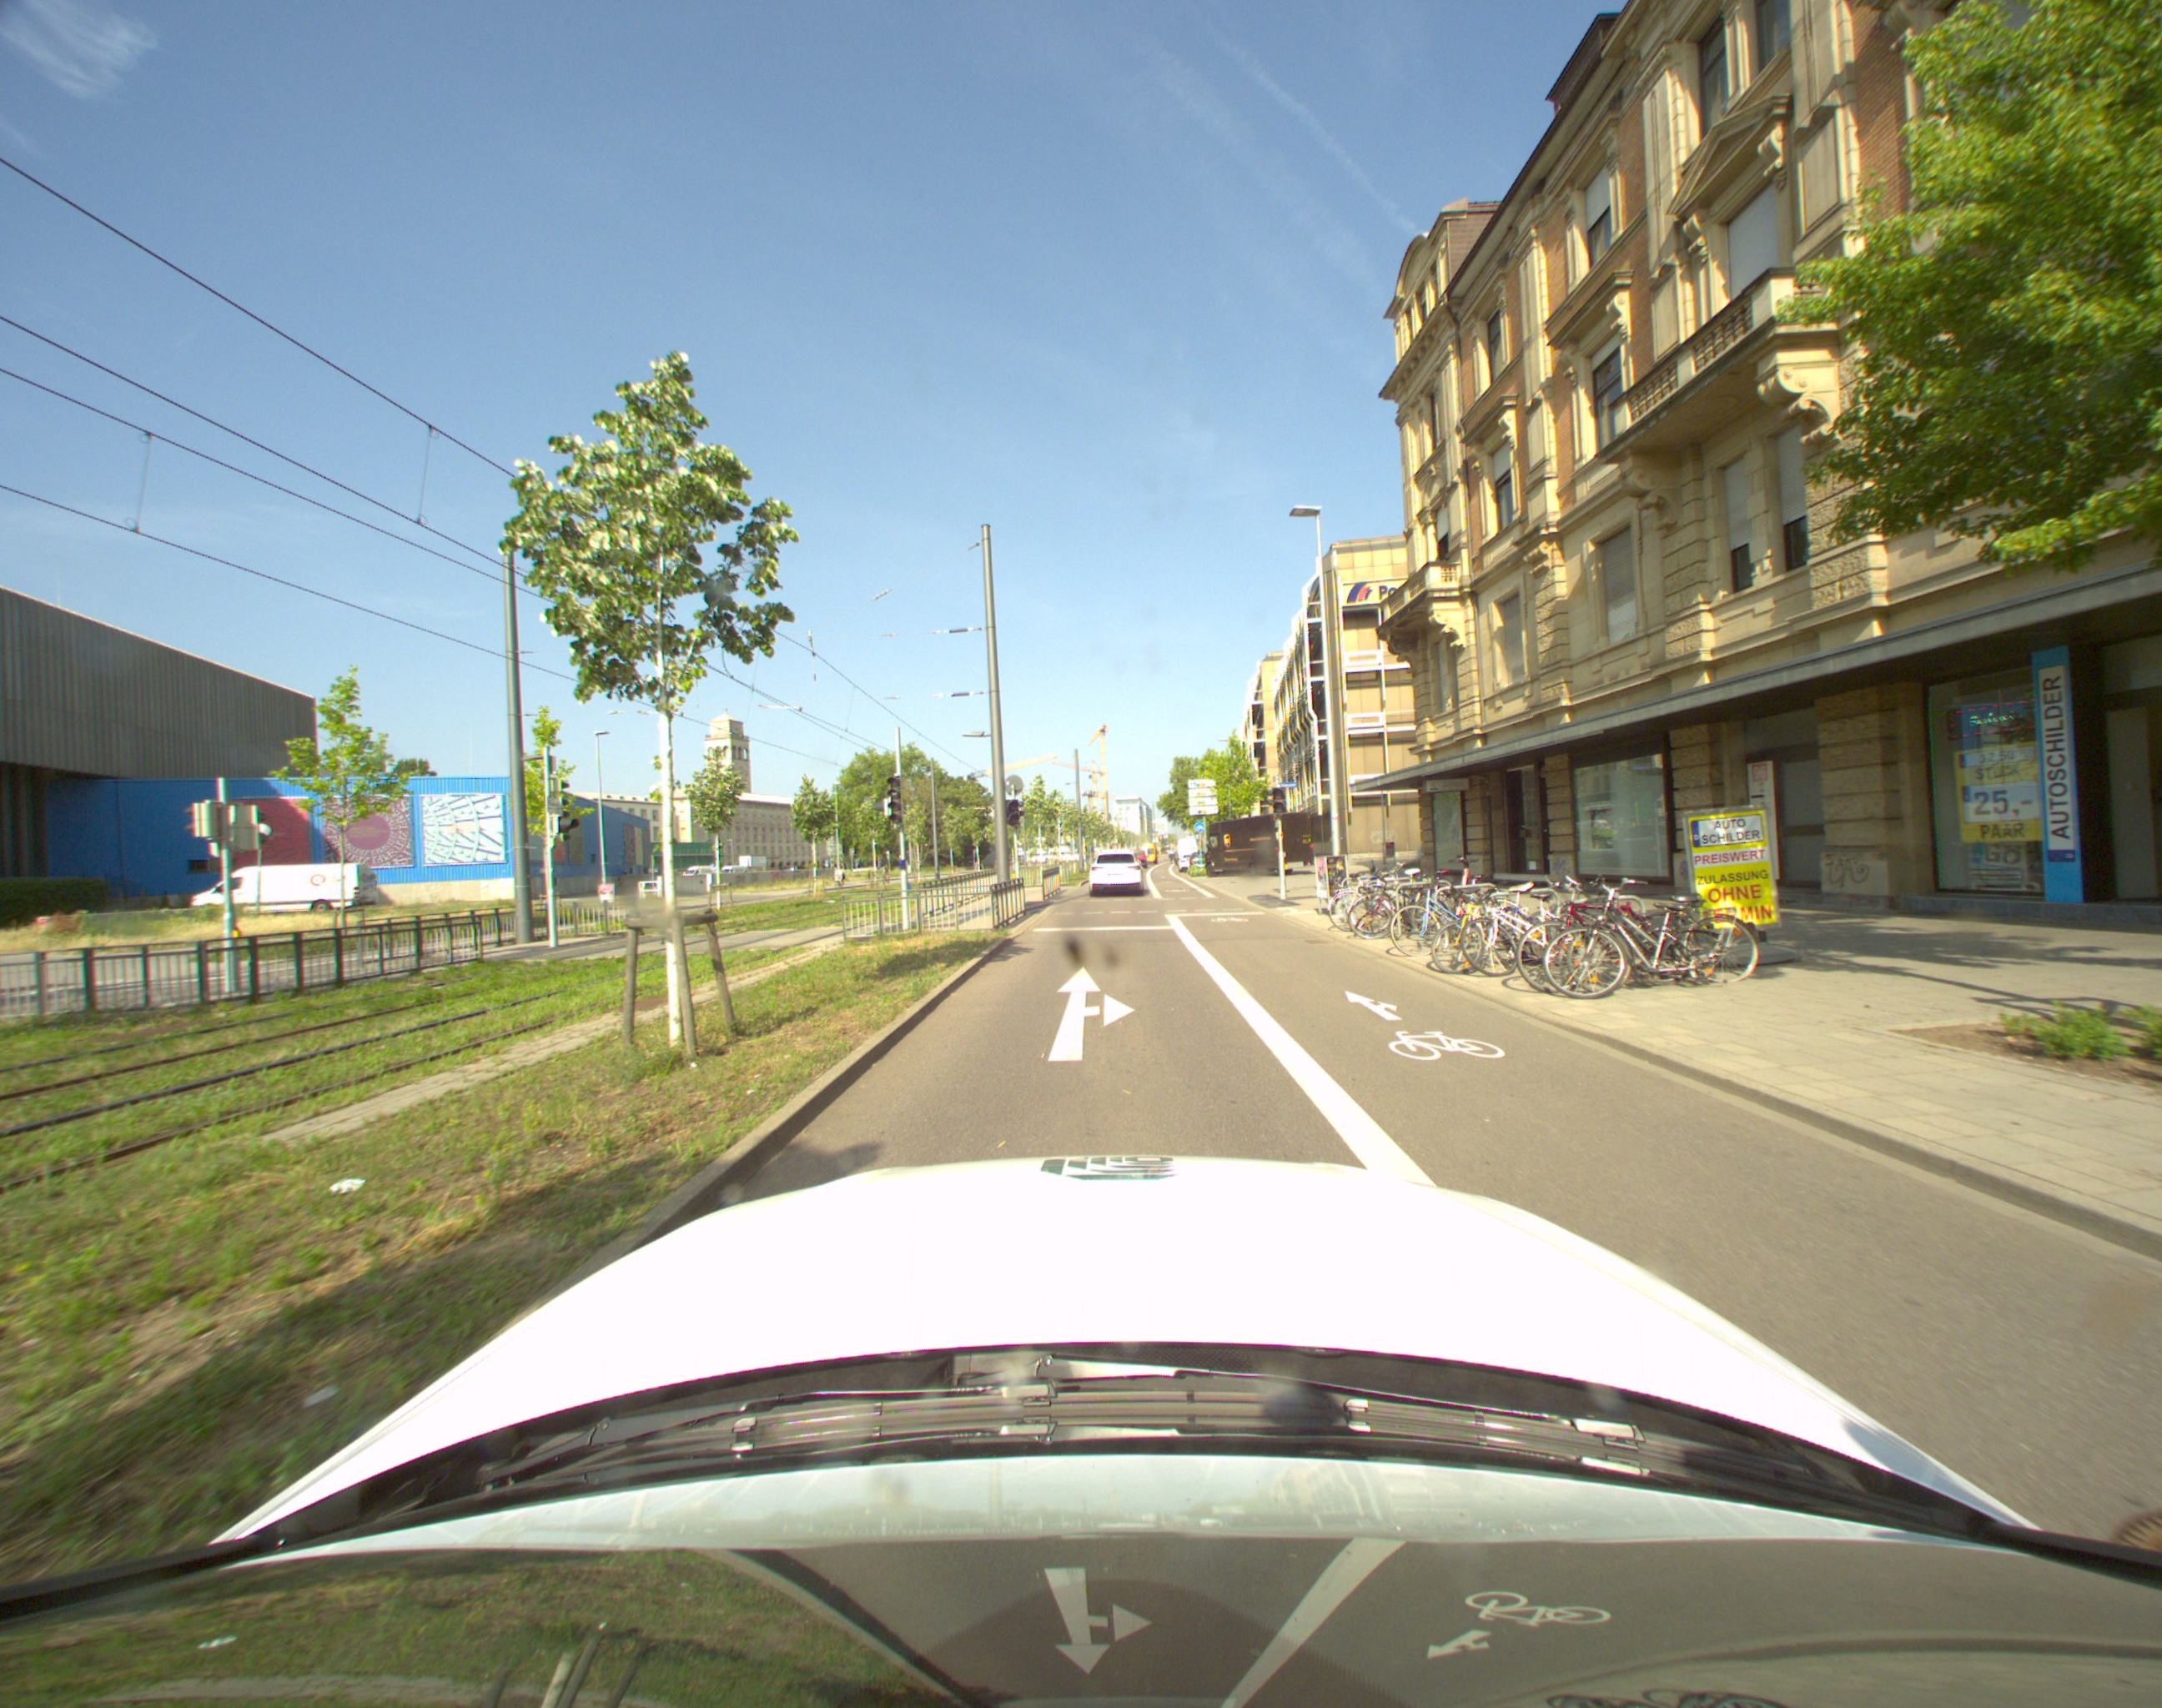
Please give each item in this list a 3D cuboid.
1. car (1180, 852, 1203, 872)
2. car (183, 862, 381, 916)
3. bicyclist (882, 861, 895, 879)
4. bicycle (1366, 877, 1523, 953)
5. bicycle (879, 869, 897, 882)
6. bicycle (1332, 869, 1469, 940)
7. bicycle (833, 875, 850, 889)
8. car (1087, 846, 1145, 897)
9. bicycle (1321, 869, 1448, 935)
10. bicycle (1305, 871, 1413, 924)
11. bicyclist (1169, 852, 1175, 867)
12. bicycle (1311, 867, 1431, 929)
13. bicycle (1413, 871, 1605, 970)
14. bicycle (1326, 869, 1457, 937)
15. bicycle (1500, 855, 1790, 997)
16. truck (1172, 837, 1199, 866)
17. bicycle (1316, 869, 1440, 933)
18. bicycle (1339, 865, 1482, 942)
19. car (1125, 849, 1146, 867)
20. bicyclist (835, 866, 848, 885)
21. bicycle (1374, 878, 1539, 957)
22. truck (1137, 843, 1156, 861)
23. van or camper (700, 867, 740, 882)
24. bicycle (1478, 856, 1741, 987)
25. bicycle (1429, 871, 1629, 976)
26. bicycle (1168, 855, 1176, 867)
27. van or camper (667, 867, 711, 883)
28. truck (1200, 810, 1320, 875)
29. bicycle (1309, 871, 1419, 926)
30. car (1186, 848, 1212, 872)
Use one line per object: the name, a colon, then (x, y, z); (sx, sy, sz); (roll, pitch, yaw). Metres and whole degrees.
car: (8.279, 0.592, 61.045); (1.641, 1.385, 3.533); (-3, 0, 7)
car: (-41.525, 1.749, 42.626); (6.900, 2.639, 2.496); (0, -1, -21)
bicyclist: (-17.032, 1.439, 72.055); (0.693, 1.516, 1.187); (-3, 0, 2)
bicycle: (5.023, 0.840, 11.304); (1.927, 0.874, 0.441); (-5, 0, 1)
bicycle: (-17.014, 1.873, 71.867); (0.693, 0.990, 2.826); (-3, 0, 3)
bicycle: (5.068, 0.794, 12.961); (1.926, 0.945, 0.441); (-5, 0, 4)
bicycle: (-17.580, 2.045, 59.783); (0.536, 0.958, 1.919); (-3, 0, 3)
car: (1.171, 0.588, 28.739); (1.811, 1.590, 4.406); (-2, 0, 0)
bicycle: (5.134, 0.805, 13.823); (1.926, 0.945, 0.429); (-5, 0, 4)
bicycle: (5.395, 0.838, 15.848); (1.878, 0.863, 0.429); (-5, 0, 4)
bicyclist: (11.790, 0.746, 105.377); (0.706, 1.895, 0.843); (-3, 0, 1)
bicycle: (5.225, 0.792, 14.730); (1.926, 0.945, 0.429); (-5, 0, 4)
bicycle: (5.047, 0.773, 9.660); (1.948, 0.986, 0.471); (-5, 0, 1)
bicycle: (5.102, 0.800, 13.440); (1.926, 0.945, 0.441); (-5, 0, 4)
bicycle: (5.258, 0.653, 7.670); (2.231, 1.104, 0.588); (-5, 0, 1)
truck: (9.578, -0.258, 74.770); (1.986, 2.508, 4.002); (-3, 0, 2)
bicycle: (5.182, 0.810, 14.266); (1.926, 0.945, 0.429); (-5, 0, 4)
bicycle: (5.031, 0.756, 12.506); (1.926, 1.013, 0.441); (-5, 0, 4)
car: (5.489, 0.370, 81.284); (1.984, 1.684, 4.375); (-3, 0, 5)
bicyclist: (-17.601, 1.575, 59.862); (0.536, 1.422, 0.901); (-3, 0, 3)
bicycle: (4.984, 0.834, 10.860); (1.927, 0.874, 0.441); (-5, 0, 1)
truck: (8.740, -0.250, 108.633); (2.204, 2.318, 5.893); (-3, 0, 2)
van or camper: (-59.253, 3.358, 133.913); (2.538, 2.085, 6.464); (-3, 0, 14)
bicycle: (5.286, 0.660, 8.217); (2.231, 1.104, 0.519); (-5, 0, 1)
bicycle: (5.019, 0.767, 9.180); (1.927, 0.986, 0.471); (-5, 0, 1)
bicycle: (11.806, 0.960, 105.672); (0.779, 1.496, 2.801); (-3, 0, 1)
van or camper: (-61.101, 3.279, 127.064); (2.538, 2.085, 6.464); (-3, 0, 14)
truck: (9.071, -0.508, 42.186); (2.520, 3.011, 6.909); (-2, 0, -22)
bicycle: (5.337, 0.833, 15.406); (1.878, 0.863, 0.429); (-5, 0, 4)
car: (8.159, 0.389, 56.570); (1.641, 1.499, 3.533); (-3, 0, 7)
